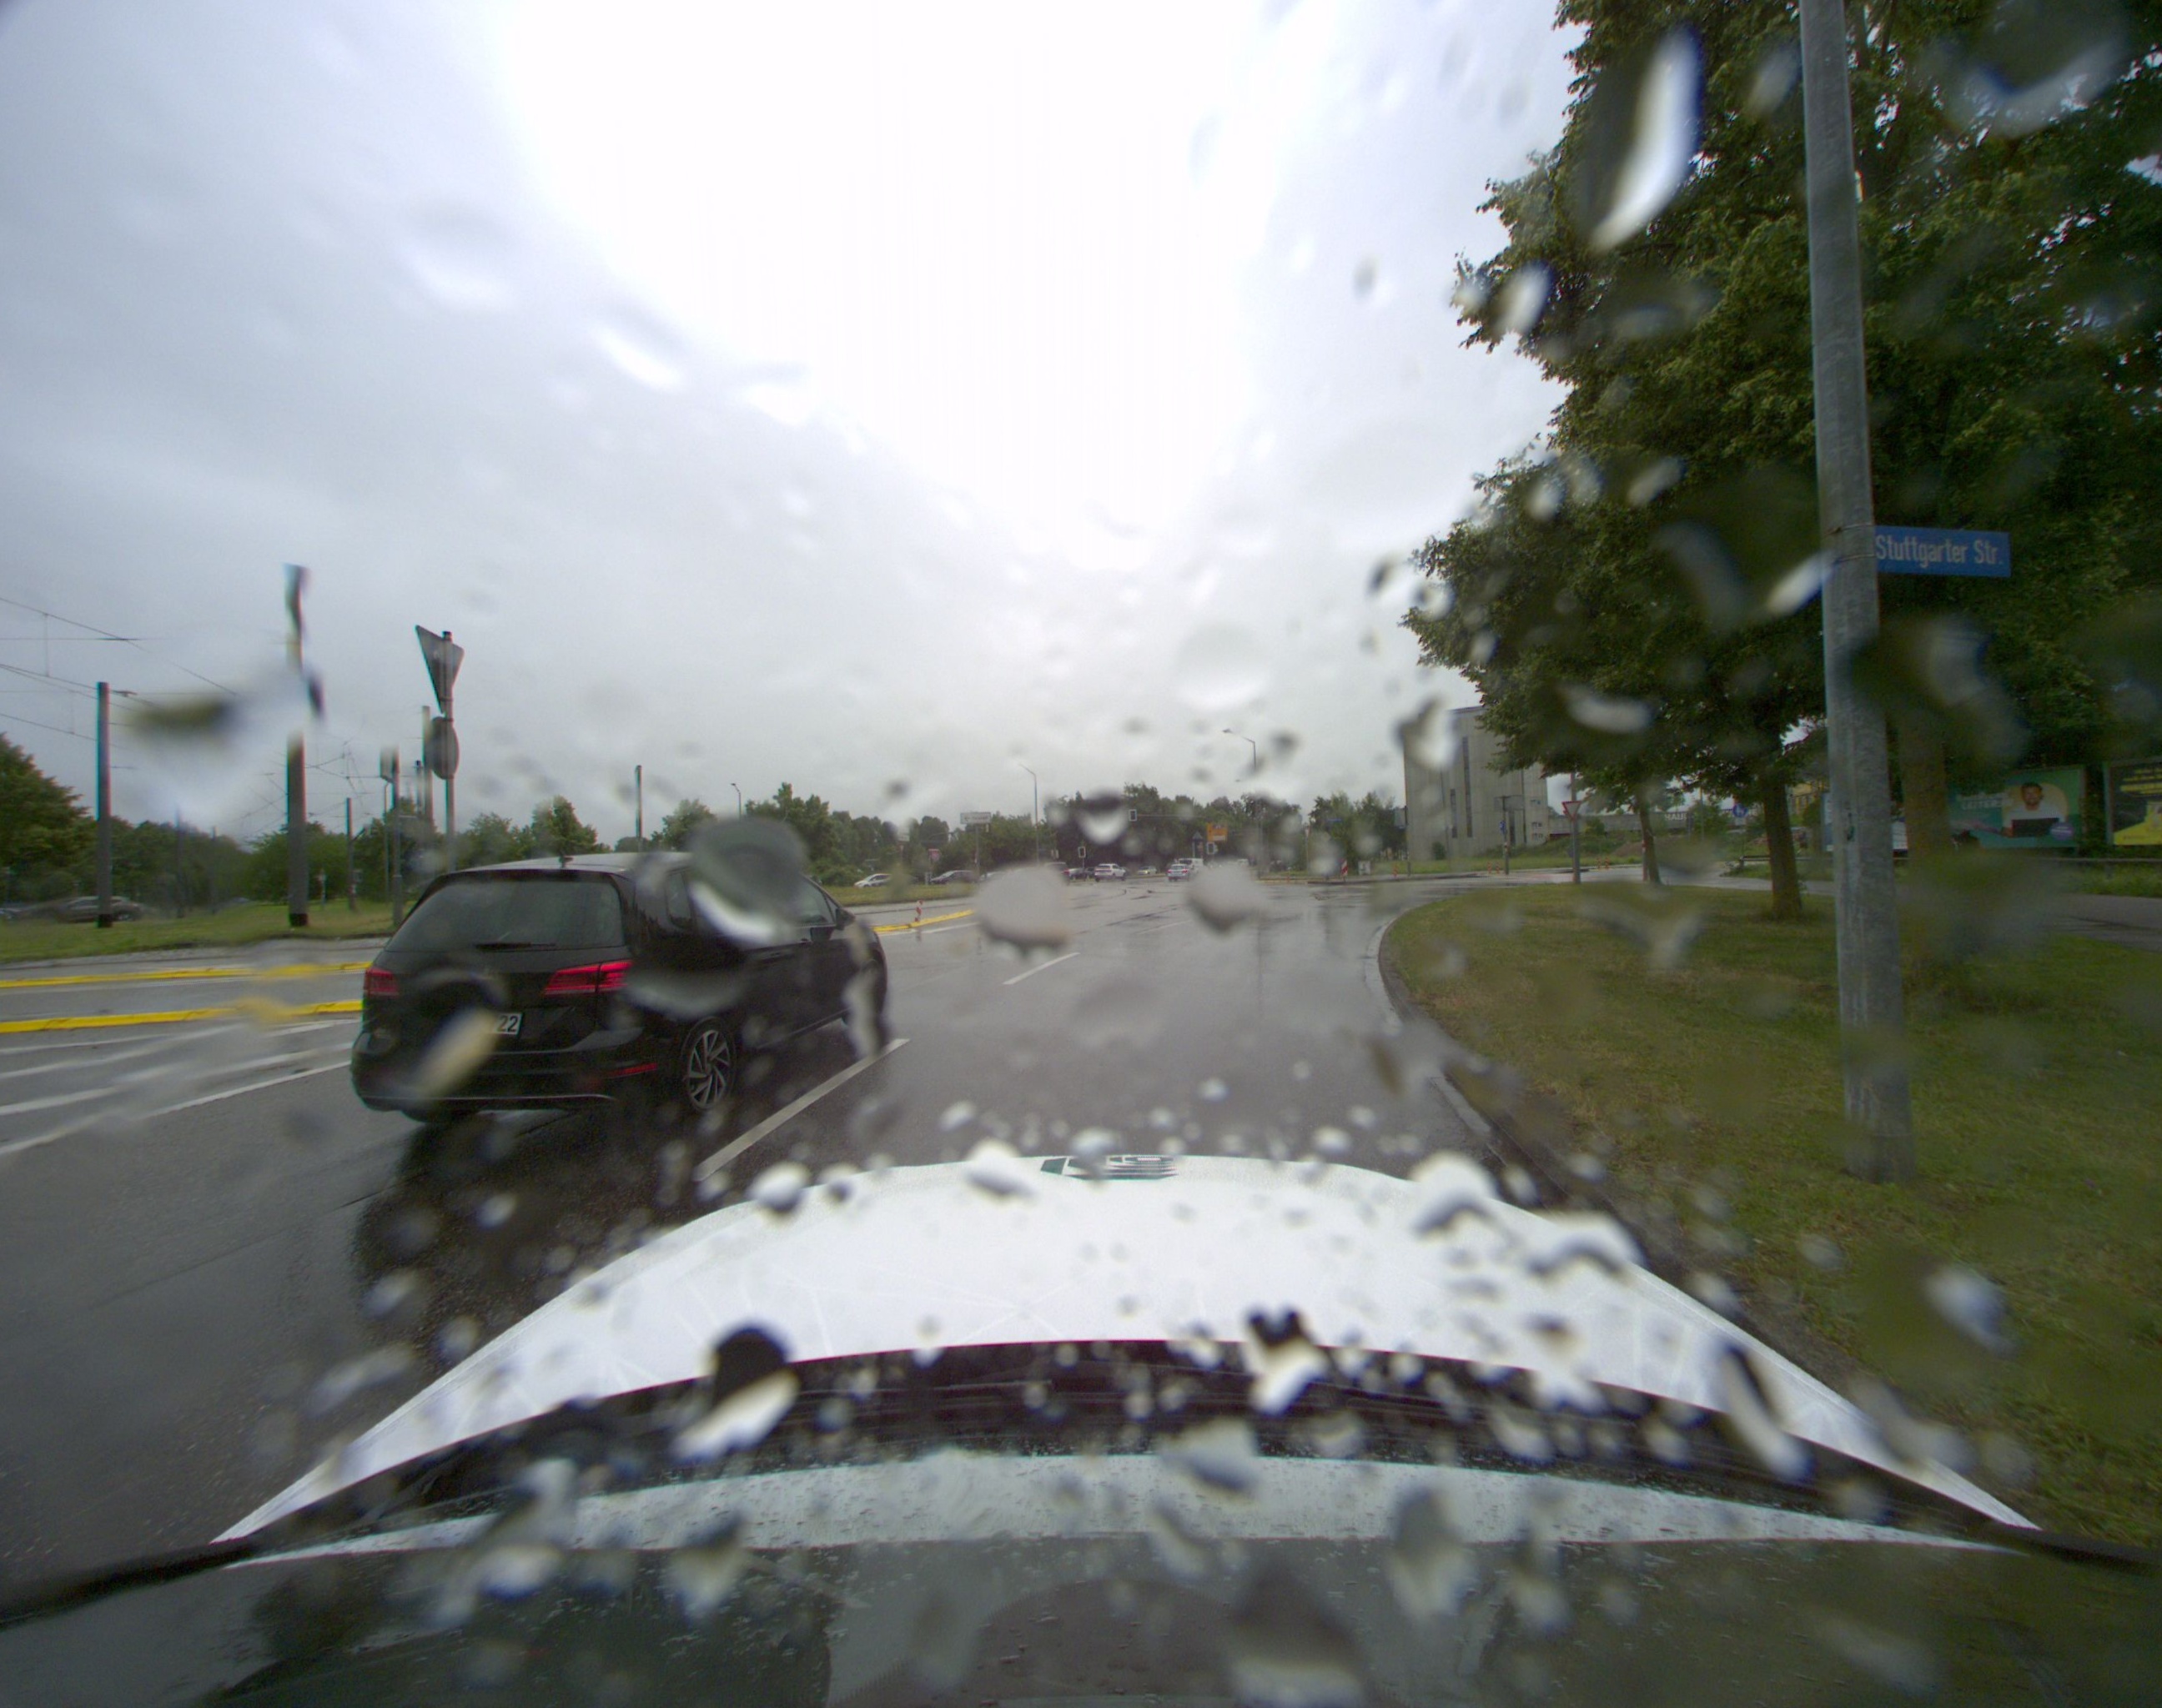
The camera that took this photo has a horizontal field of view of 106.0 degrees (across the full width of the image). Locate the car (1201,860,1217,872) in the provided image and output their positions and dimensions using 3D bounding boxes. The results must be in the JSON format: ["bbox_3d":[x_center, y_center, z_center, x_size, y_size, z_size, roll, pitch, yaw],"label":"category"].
[{"bbox_3d":[21.789,2.036,138.487,1.771,2.014,3.695,-1,-2,26],"label":"car"}]

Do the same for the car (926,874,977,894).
[{"bbox_3d":[-11.113,2.588,70.023,4.011,1.648,1.772,1,-2,-30],"label":"car"}]

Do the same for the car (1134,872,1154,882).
[{"bbox_3d":[8.932,3.278,114.681,1.613,1.376,4.271,-1,-2,21],"label":"car"}]

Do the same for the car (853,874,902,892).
[{"bbox_3d":[-18.743,2.666,75.101,4.011,1.648,1.772,1,-2,-30],"label":"car"}]

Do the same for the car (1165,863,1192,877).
[{"bbox_3d":[10.784,1.779,89.597,1.672,1.492,3.271,-1,-2,33],"label":"car"}]

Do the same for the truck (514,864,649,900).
[{"bbox_3d":[-38.790,2.158,63.532,8.829,2.711,1.979,1,-2,-33],"label":"truck"}]

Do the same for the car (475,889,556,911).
[{"bbox_3d":[-40.159,3.264,57.931,4.561,1.492,1.596,1,-2,-29],"label":"car"}]

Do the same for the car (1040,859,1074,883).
[{"bbox_3d":[-1.746,1.211,57.331,1.784,1.648,3.985,0,-2,-11],"label":"car"}]

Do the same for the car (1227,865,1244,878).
[{"bbox_3d":[20.033,2.230,105.425,1.674,1.492,3.267,-2,-1,20],"label":"car"}]

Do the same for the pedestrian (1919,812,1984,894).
[{"bbox_3d":[19.545,-0.006,18.314,0.912,1.784,0.812,-2,-2,44],"label":"pedestrian"}]

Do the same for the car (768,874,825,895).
[{"bbox_3d":[-22.204,2.358,63.602,4.011,1.648,1.772,1,-2,-30],"label":"car"}]

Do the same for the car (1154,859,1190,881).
[{"bbox_3d":[7.840,1.388,70.754,1.783,1.811,4.821,-2,-1,-10],"label":"car"}]

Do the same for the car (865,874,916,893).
[{"bbox_3d":[-16.599,2.556,70.884,4.011,1.648,1.772,1,-2,-30],"label":"car"}]

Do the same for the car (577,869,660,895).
[{"bbox_3d":[-32.521,1.976,57.312,4.885,1.744,1.759,1,-2,-35],"label":"car"}]

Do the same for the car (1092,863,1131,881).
[{"bbox_3d":[2.787,1.653,73.914,1.664,1.648,3.972,-1,-2,34],"label":"car"}]

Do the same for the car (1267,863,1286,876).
[{"bbox_3d":[24.571,1.967,102.280,1.673,1.492,3.270,-2,-1,27],"label":"car"}]

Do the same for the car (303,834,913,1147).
[{"bbox_3d":[-2.801,0.718,6.191,1.774,1.517,4.338,0,-2,5],"label":"car"}]

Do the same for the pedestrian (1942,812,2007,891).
[{"bbox_3d":[20.776,-0.043,18.959,0.912,1.784,0.812,-2,-2,44],"label":"pedestrian"}]

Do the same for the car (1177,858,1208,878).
[{"bbox_3d":[11.653,1.497,84.659,1.766,2.036,4.024,-1,-2,31],"label":"car"}]

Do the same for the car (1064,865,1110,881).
[{"bbox_3d":[0.591,1.951,83.293,4.400,1.648,1.774,1,-2,-25],"label":"car"}]

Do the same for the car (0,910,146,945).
[{"bbox_3d":[-51.782,3.705,41.880,1.592,1.492,4.574,-1,-2,24],"label":"car"}]
